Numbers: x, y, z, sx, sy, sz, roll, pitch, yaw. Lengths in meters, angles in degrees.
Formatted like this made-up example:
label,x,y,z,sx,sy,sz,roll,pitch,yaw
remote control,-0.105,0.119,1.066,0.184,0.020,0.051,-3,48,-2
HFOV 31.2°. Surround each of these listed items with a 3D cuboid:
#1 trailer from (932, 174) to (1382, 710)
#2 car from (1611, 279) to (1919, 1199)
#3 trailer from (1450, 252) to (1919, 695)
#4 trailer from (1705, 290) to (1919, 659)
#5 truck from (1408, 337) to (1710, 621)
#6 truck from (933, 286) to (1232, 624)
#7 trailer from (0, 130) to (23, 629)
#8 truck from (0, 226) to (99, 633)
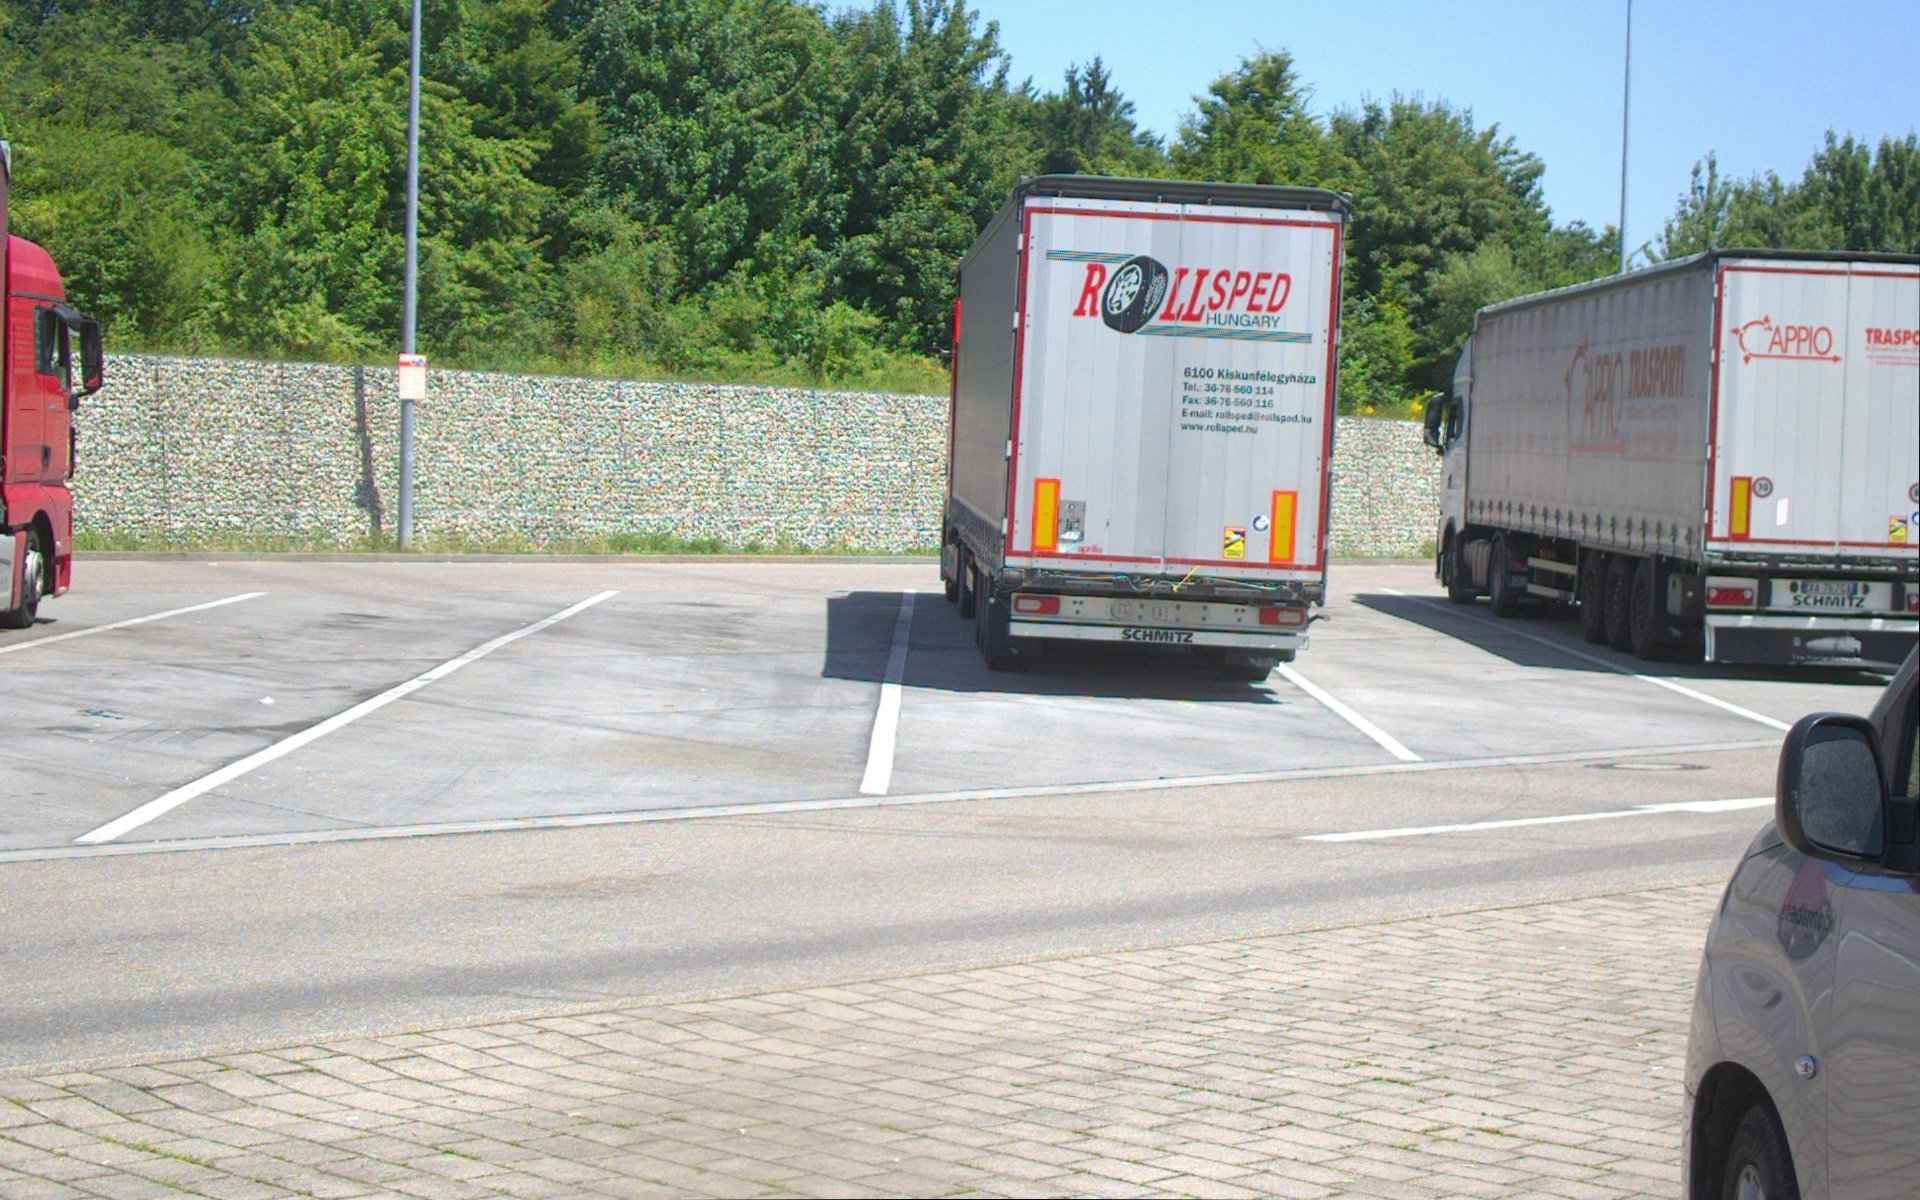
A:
label,x,y,z,sx,sy,sz,roll,pitch,yaw
trailer,1.450,-1.592,33.597,3.133,3.976,14.397,2,3,-1
car,2.153,0.580,3.827,1.869,1.857,4.177,2,2,-2
trailer,8.116,-1.522,38.709,2.811,3.976,14.396,2,3,-1
trailer,11.757,-1.455,39.761,2.811,3.976,14.396,2,3,-1
truck,8.023,-1.696,46.809,2.862,3.509,5.900,2,3,-1
truck,1.313,-1.733,40.489,3.103,3.554,5.900,2,3,-1
trailer,-9.192,-1.489,21.546,2.791,4.071,14.133,2,3,-1
truck,-9.236,-1.443,28.120,2.851,3.316,5.900,2,3,-1
